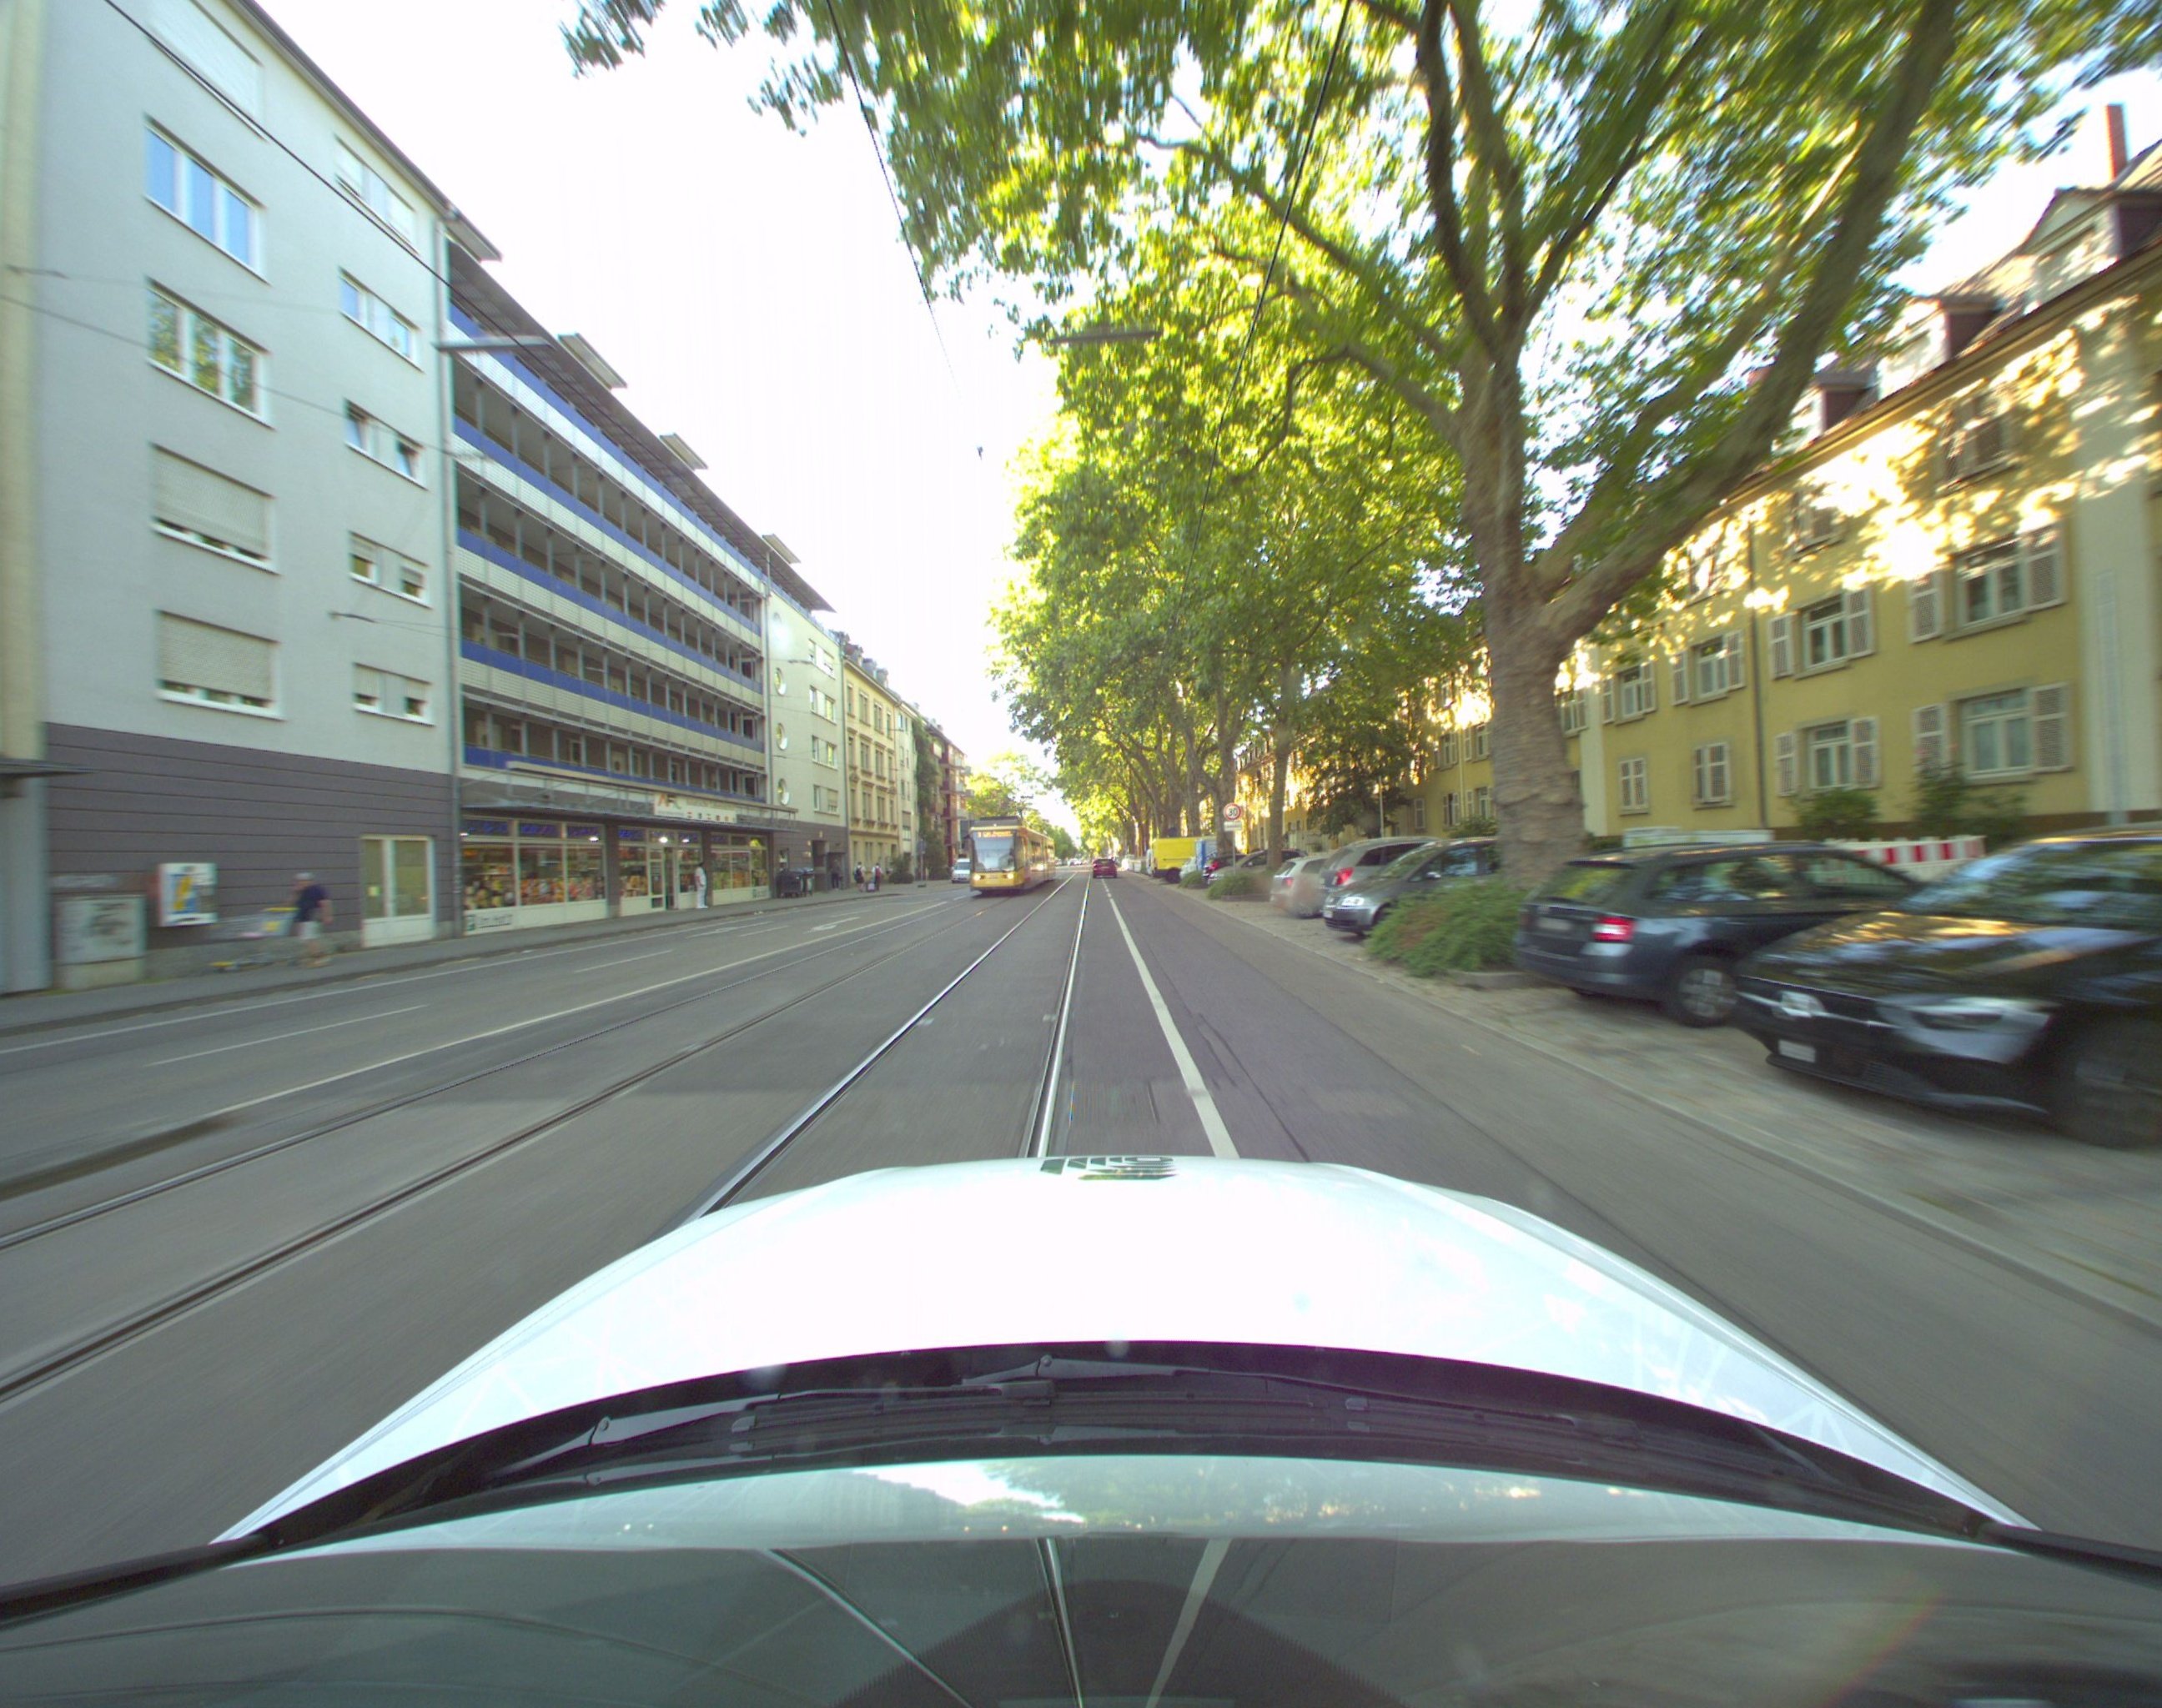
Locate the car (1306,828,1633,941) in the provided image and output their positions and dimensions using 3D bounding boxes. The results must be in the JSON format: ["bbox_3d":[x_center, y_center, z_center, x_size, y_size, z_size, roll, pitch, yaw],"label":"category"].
[{"bbox_3d":[6.502,0.496,14.052,4.694,1.602,1.920,-3,0,1],"label":"car"}]

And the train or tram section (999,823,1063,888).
[{"bbox_3d":[-3.018,0.107,53.044,2.821,3.638,12.821,-2,0,2],"label":"train or tram section"}]

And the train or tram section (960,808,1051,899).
[{"bbox_3d":[-3.340,0.018,40.048,2.851,3.638,13.200,-2,0,1],"label":"train or tram section"}]

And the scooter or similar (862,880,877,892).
[{"bbox_3d":[-11.893,1.806,45.837,0.622,0.648,0.766,-2,0,1],"label":"scooter or similar"}]

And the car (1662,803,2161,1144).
[{"bbox_3d":[6.533,0.502,4.862,4.694,1.602,1.920,-3,0,1],"label":"car"}]

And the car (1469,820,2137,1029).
[{"bbox_3d":[6.373,0.571,7.602,4.572,1.506,1.918,-2,0,-2],"label":"car"}]

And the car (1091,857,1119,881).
[{"bbox_3d":[1.745,1.090,59.825,1.886,1.564,4.394,-4,-1,2],"label":"car"}]

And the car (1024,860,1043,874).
[{"bbox_3d":[-5.697,1.570,97.990,1.887,1.564,4.393,-2,0,1],"label":"car"}]

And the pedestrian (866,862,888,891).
[{"bbox_3d":[-11.683,1.267,46.666,0.889,1.624,1.035,-2,-1,1],"label":"pedestrian"}]

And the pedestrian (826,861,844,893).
[{"bbox_3d":[-14.670,1.387,48.578,0.897,1.864,0.782,-2,-1,-27],"label":"pedestrian"}]

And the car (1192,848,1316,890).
[{"bbox_3d":[7.115,0.607,33.865,4.700,1.534,1.918,-2,0,-2],"label":"car"}]

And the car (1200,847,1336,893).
[{"bbox_3d":[7.092,0.602,31.205,4.699,1.534,1.918,-2,0,-2],"label":"car"}]

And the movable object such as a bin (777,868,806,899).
[{"bbox_3d":[-13.918,1.407,39.182,1.010,1.428,1.143,-2,-1,-3],"label":"movable object such as a bin"}]

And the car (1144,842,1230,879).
[{"bbox_3d":[7.007,0.420,54.362,5.422,2.192,2.062,-2,0,1],"label":"car"}]

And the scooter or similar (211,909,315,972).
[{"bbox_3d":[-14.465,1.512,14.453,0.465,0.954,1.428,-2,0,-5],"label":"scooter or similar"}]

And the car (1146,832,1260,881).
[{"bbox_3d":[6.636,0.143,44.707,5.923,2.366,2.062,-2,0,1],"label":"car"}]

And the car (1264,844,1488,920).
[{"bbox_3d":[7.007,0.648,19.728,4.696,1.534,1.920,-3,0,1],"label":"car"}]

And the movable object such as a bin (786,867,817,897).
[{"bbox_3d":[-13.937,1.389,40.619,1.009,1.428,1.257,-2,0,2],"label":"movable object such as a bin"}]

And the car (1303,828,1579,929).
[{"bbox_3d":[7.125,0.478,16.488,4.696,1.722,1.920,-3,0,1],"label":"car"}]

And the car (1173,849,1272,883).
[{"bbox_3d":[7.267,0.612,42.136,4.698,1.534,1.919,-2,0,-1],"label":"car"}]

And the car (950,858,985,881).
[{"bbox_3d":[-8.411,1.147,60.649,1.887,1.564,4.393,-2,0,1],"label":"car"}]

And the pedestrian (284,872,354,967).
[{"bbox_3d":[-13.784,1.158,14.752,0.664,1.648,0.622,-2,-1,-15],"label":"pedestrian"}]

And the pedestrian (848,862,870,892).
[{"bbox_3d":[-12.521,1.273,45.961,0.889,1.624,1.035,-2,-1,1],"label":"pedestrian"}]

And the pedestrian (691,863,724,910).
[{"bbox_3d":[-14.239,1.242,31.068,1.033,1.663,1.218,-2,-5,-21],"label":"pedestrian"}]

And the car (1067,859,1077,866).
[{"bbox_3d":[-2.047,1.941,188.514,1.989,1.509,3.995,-2,0,-3],"label":"car"}]
